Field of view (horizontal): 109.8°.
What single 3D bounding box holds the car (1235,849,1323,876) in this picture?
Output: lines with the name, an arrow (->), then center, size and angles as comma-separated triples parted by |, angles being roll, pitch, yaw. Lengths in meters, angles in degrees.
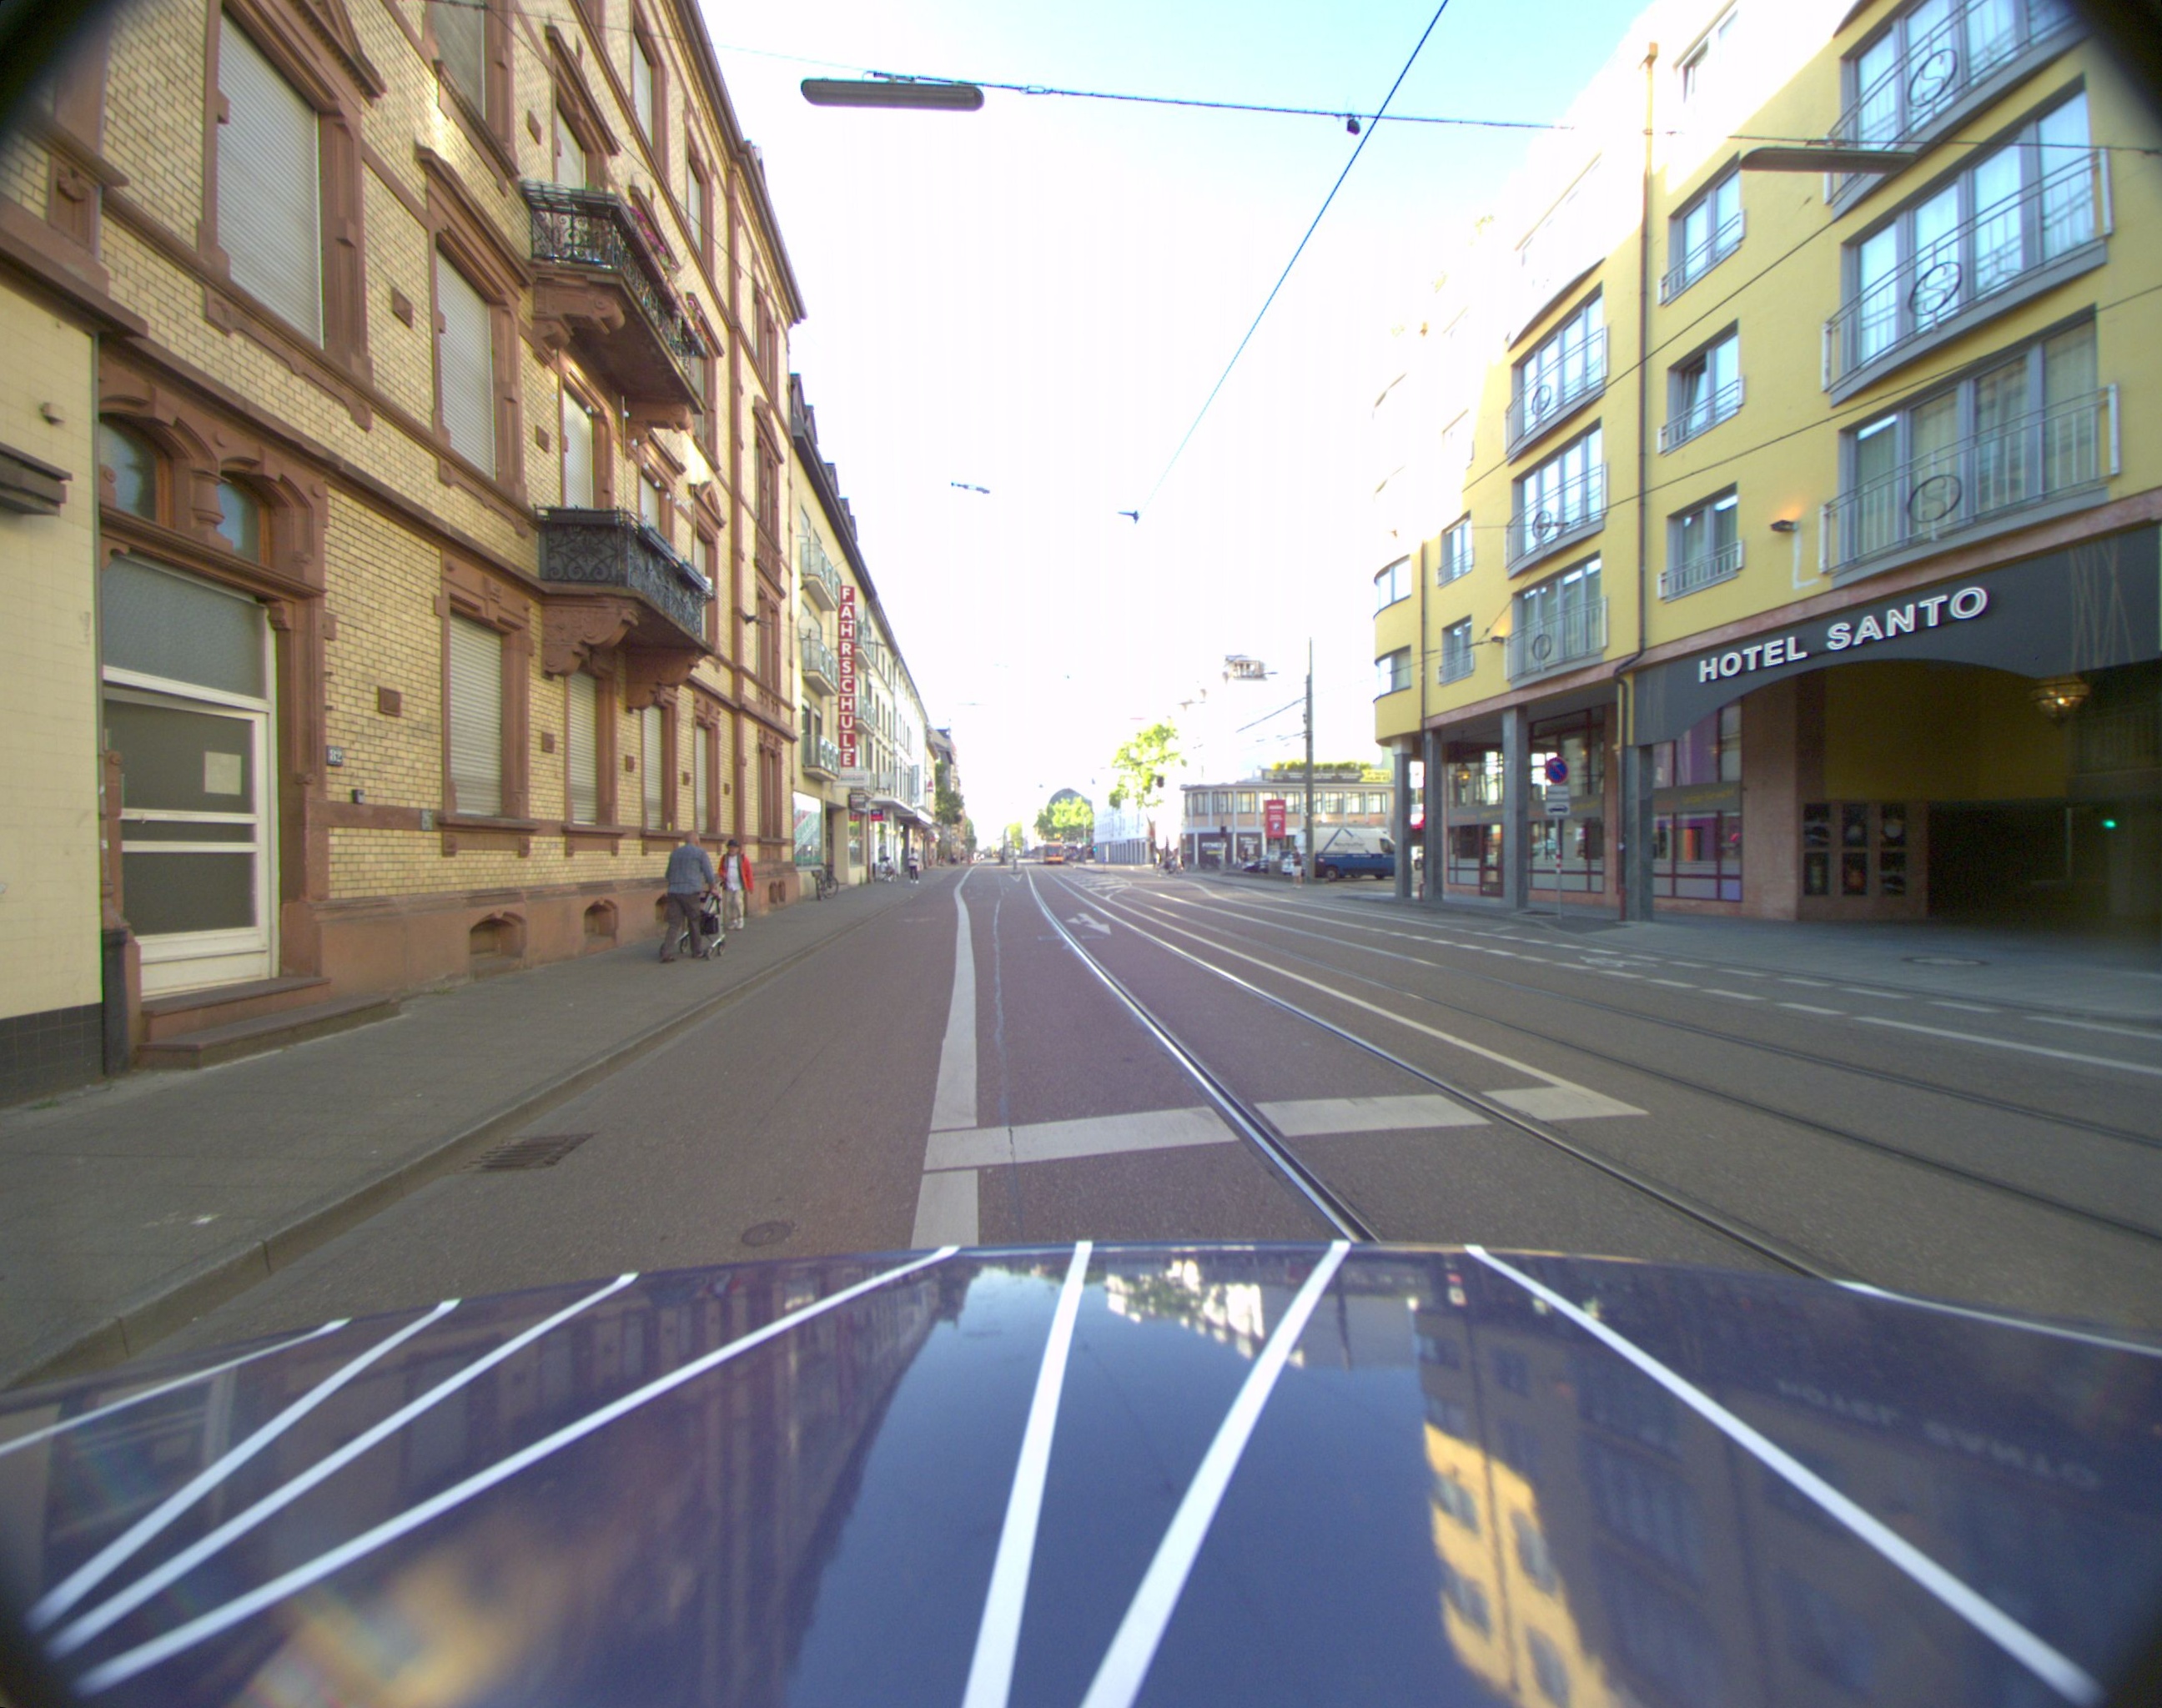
car -> 12.152, 0.513, 46.801 | 4.910, 1.574, 1.878 | 0, 0, -6

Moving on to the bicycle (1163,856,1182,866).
bicycle -> 9.043, 0.677, 75.107 | 1.850, 0.906, 0.389 | -2, -3, -1

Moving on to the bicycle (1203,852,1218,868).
bicycle -> 9.570, 0.449, 56.258 | 0.447, 1.180, 1.829 | 0, 0, -13

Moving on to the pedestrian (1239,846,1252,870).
pedestrian -> 11.790, 0.288, 54.397 | 0.683, 1.687, 0.683 | 0, 0, -9

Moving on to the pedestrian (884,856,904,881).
pedestrian -> -9.518, 0.726, 38.718 | 0.708, 1.167, 1.013 | 5, -1, -26

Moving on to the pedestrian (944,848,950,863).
pedestrian -> -16.441, 0.173, 93.145 | 0.694, 1.760, 0.696 | 0, 1, -2

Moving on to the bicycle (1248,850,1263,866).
bicycle -> 12.845, 0.315, 55.952 | 0.449, 1.180, 1.830 | 0, 0, -10

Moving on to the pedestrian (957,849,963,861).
pedestrian -> -15.671, 0.151, 98.609 | 0.651, 1.569, 0.682 | -1, 1, -14

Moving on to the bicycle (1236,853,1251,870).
bicycle -> 11.757, 0.526, 55.032 | 0.449, 1.180, 1.830 | 0, 0, -10

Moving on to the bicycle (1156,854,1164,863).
bicycle -> 7.821, 0.420, 75.186 | 0.389, 0.907, 1.850 | -2, 1, -6

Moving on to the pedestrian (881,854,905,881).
pedestrian -> -9.311, 0.674, 37.694 | 0.833, 1.248, 0.705 | 6, -1, -42

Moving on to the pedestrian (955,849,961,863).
pedestrian -> -15.937, 0.220, 98.629 | 0.650, 1.760, 0.696 | 0, 1, -2

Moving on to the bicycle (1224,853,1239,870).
bicycle -> 11.135, 0.554, 56.154 | 0.444, 1.180, 1.830 | 0, 0, -10

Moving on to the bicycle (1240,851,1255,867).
bicycle -> 12.163, 0.370, 55.580 | 0.449, 1.180, 1.830 | 0, 0, -10

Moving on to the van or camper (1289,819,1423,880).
van or camper -> 13.110, -0.204, 36.406 | 5.623, 2.810, 2.314 | 0, 0, -6

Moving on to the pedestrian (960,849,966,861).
pedestrian -> -17.543, 0.120, 112.598 | 0.808, 1.789, 0.761 | 0, 1, -7

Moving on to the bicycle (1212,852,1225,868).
bicycle -> 10.131, 0.464, 55.979 | 0.441, 1.180, 1.830 | 0, 0, -7

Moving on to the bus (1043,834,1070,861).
bus -> -3.638, -0.939, 107.601 | 2.820, 3.547, 13.670 | 0, 0, -6

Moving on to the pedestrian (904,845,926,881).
pedestrian -> -8.491, 0.471, 38.906 | 0.706, 1.801, 0.680 | 5, 0, 9

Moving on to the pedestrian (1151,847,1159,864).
pedestrian -> 7.411, 0.145, 75.988 | 0.630, 1.706, 0.826 | 0, 1, 21

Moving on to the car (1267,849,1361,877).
car -> 12.747, 0.465, 41.741 | 4.602, 1.467, 1.878 | 0, 0, -6

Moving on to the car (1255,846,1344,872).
car -> 12.679, 0.298, 44.142 | 4.602, 1.467, 1.878 | 0, 0, -6

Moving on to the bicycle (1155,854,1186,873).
bicycle -> 5.708, 0.622, 48.434 | 1.831, 1.164, 0.682 | 0, 3, -7

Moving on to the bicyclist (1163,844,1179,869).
bicyclist -> 5.704, 0.173, 48.413 | 0.837, 1.541, 0.690 | 0, 3, -8

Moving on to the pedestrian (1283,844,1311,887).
pedestrian -> 9.141, 0.486, 32.211 | 0.836, 1.822, 0.909 | 0, 0, -7

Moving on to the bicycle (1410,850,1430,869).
bicycle -> 21.518, 0.323, 48.251 | 0.432, 1.180, 1.831 | 0, 0, 0

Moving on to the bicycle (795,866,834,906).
bicycle -> -7.887, 0.922, 22.592 | 0.557, 1.055, 2.309 | 2, 0, -6

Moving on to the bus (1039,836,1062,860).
bus -> -4.976, -0.977, 120.831 | 2.820, 3.547, 13.670 | 0, 0, -6

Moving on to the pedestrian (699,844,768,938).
pedestrian -> -6.374, 0.667, 13.974 | 0.800, 1.618, 0.825 | 5, -1, -6

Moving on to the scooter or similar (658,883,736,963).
scooter or similar -> -5.550, 0.995, 11.013 | 0.808, 1.064, 0.521 | 4, 0, -7

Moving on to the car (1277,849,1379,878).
car -> 12.652, 0.475, 39.019 | 4.602, 1.467, 1.878 | 0, 0, -6

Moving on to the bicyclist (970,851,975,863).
bicyclist -> -14.218, 0.352, 99.597 | 0.677, 1.604, 0.837 | -1, 1, -8

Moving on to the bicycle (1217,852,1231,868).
bicycle -> 10.554, 0.450, 56.206 | 0.449, 1.180, 1.830 | 0, 0, -10

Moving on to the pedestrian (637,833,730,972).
pedestrian -> -5.401, 0.647, 10.369 | 0.808, 1.789, 0.761 | 4, 0, -7

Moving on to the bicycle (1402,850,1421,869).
bicycle -> 20.989, 0.324, 48.282 | 0.432, 1.180, 1.831 | 0, 0, 0
